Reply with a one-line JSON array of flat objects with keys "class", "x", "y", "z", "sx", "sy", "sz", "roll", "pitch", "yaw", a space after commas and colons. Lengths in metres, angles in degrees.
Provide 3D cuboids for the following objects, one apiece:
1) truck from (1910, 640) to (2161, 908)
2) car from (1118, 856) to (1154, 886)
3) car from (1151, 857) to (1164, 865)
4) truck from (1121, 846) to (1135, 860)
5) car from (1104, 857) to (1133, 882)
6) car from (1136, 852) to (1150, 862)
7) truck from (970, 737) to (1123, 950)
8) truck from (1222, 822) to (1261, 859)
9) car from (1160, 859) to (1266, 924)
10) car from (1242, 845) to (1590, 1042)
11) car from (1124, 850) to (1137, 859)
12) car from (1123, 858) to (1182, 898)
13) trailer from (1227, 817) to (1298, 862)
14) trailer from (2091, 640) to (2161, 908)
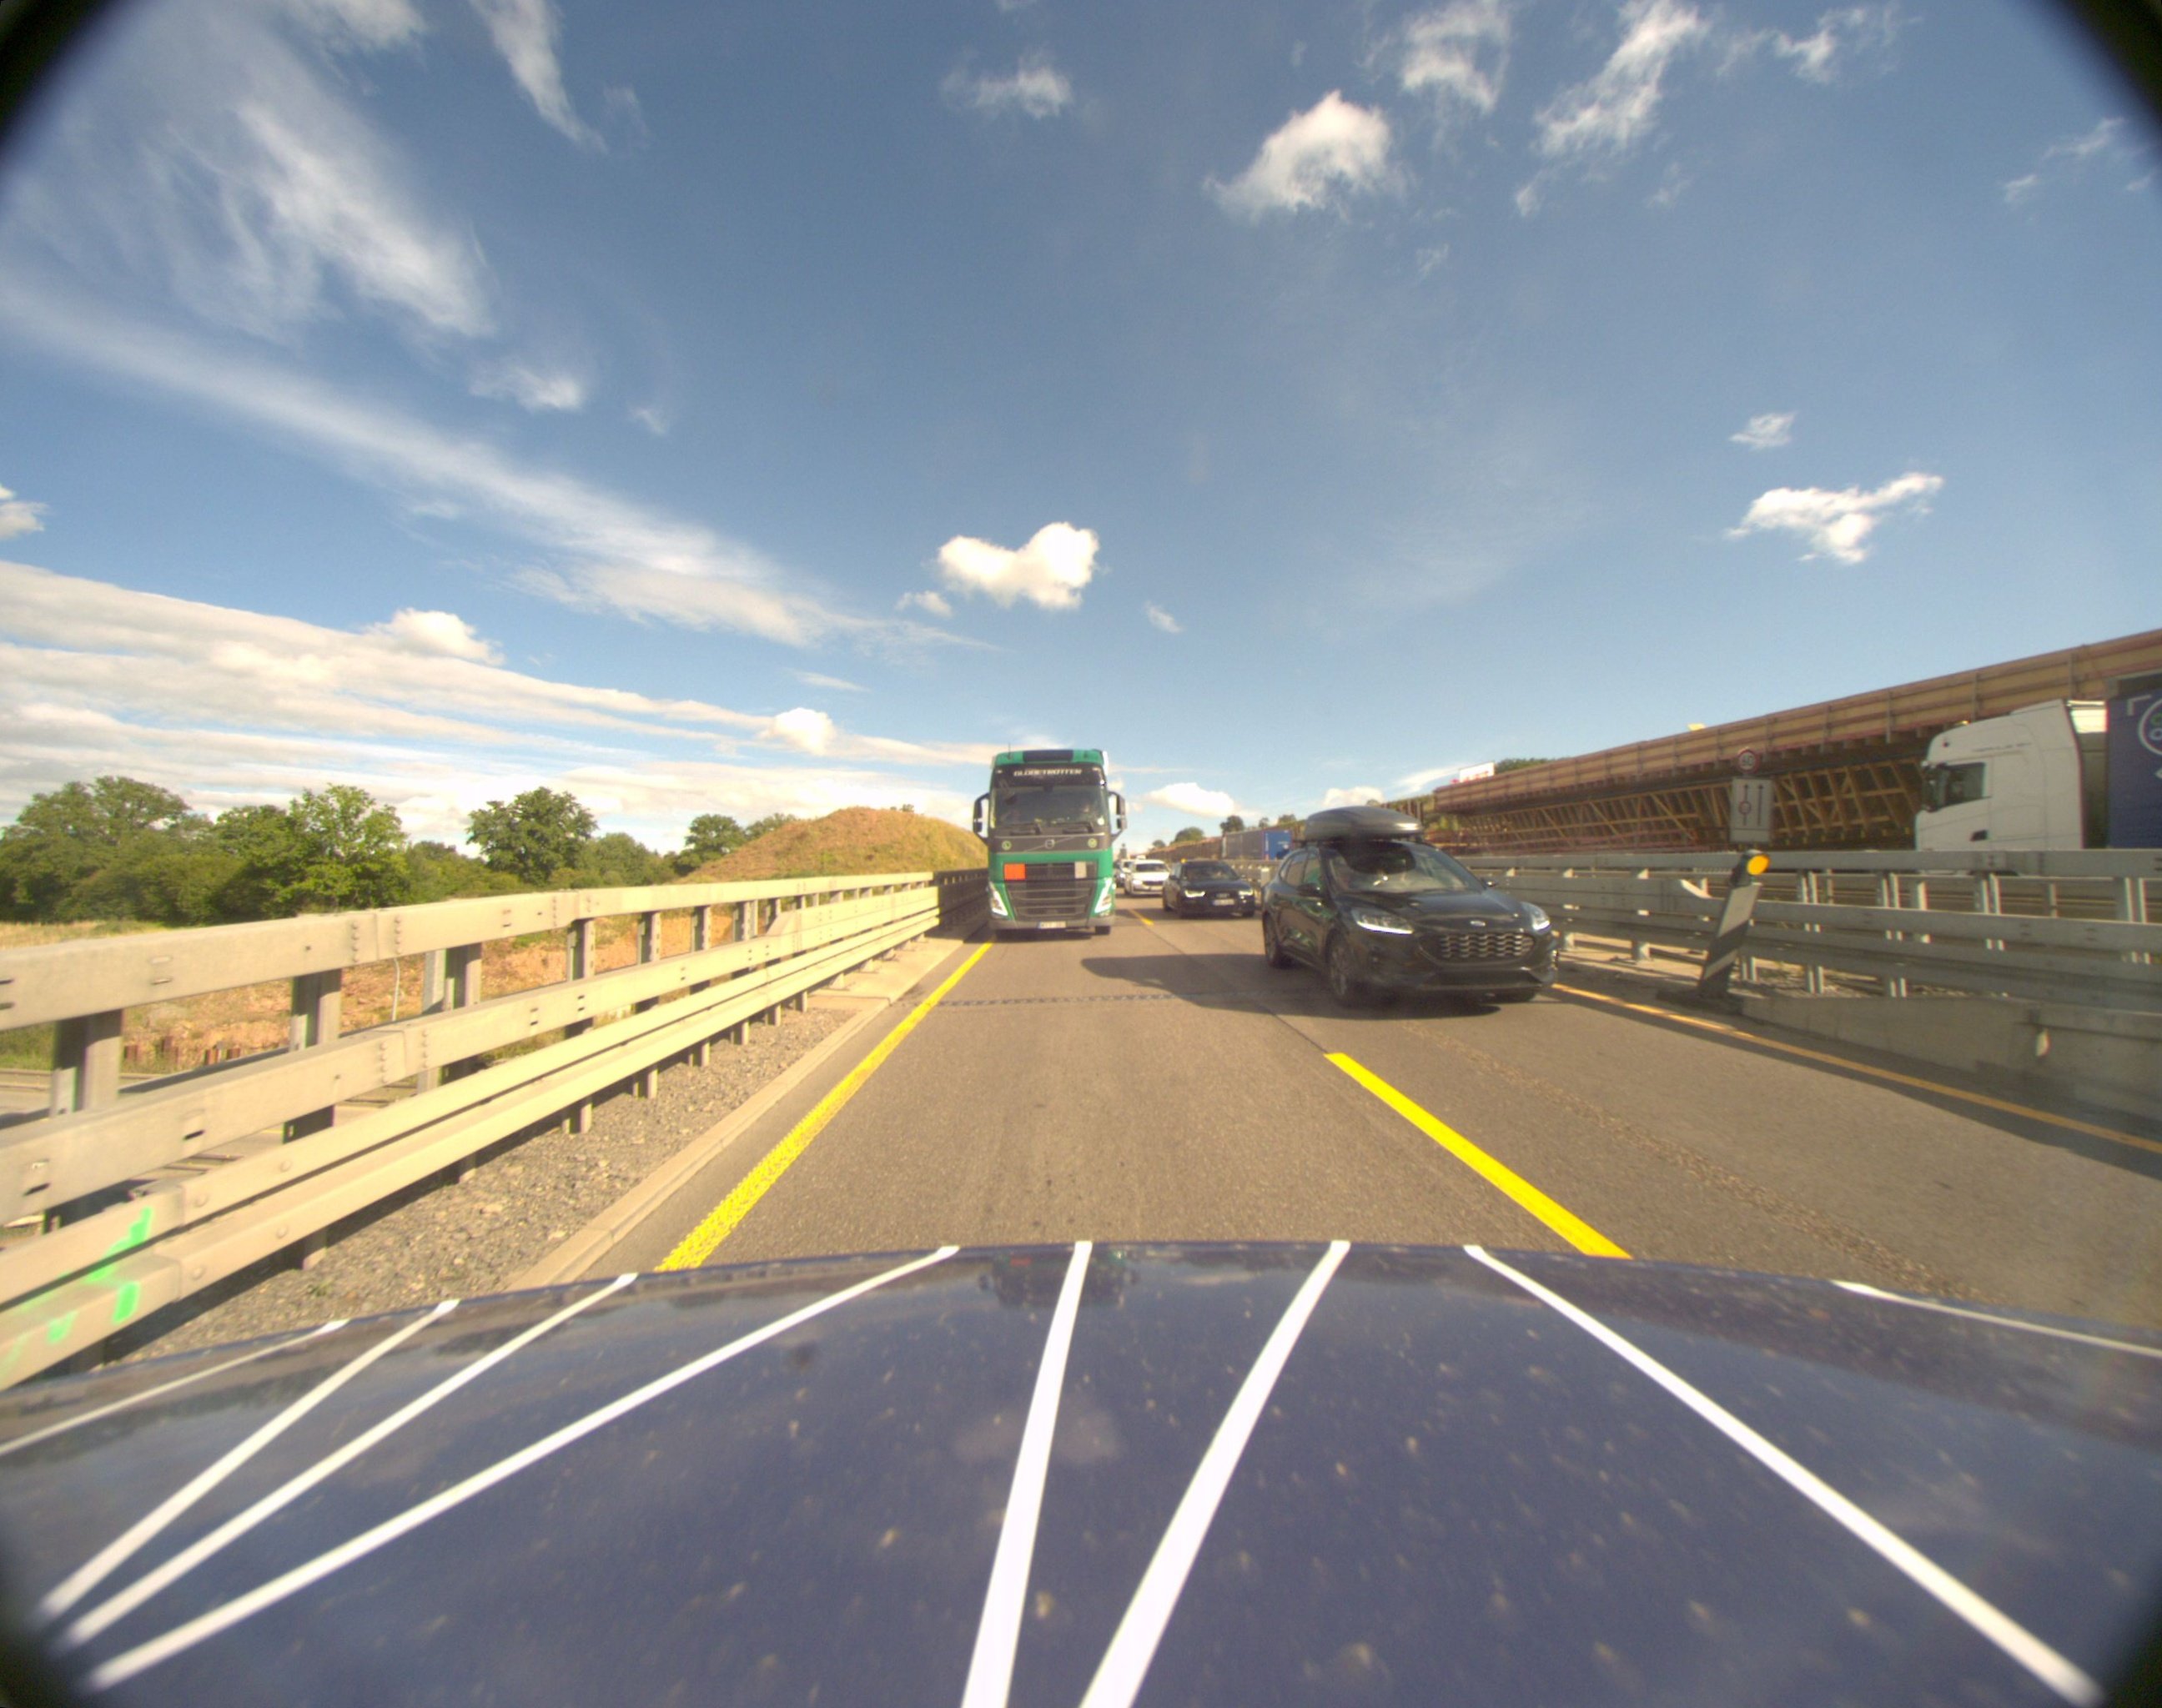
[{"class": "truck", "x": 17.996, "y": -1.280, "z": 12.213, "sx": 2.719, "sy": 4.113, "sz": 5.969, "roll": -2, "pitch": 1, "yaw": -1}, {"class": "car", "x": 3.113, "y": 0.943, "z": 43.489, "sx": 1.659, "sy": 1.510, "sz": 3.999, "roll": -2, "pitch": 1, "yaw": -1}, {"class": "car", "x": 15.448, "y": 1.365, "z": 153.386, "sx": 1.949, "sy": 1.422, "sz": 4.407, "roll": -4, "pitch": 1, "yaw": -2}, {"class": "truck", "x": 13.857, "y": -0.268, "z": 223.811, "sx": 3.179, "sy": 3.843, "sz": 8.232, "roll": -2, "pitch": 1, "yaw": -1}, {"class": "car", "x": 2.571, "y": 1.042, "z": 52.694, "sx": 1.659, "sy": 1.510, "sz": 3.999, "roll": -2, "pitch": 1, "yaw": -1}, {"class": "car", "x": 14.386, "y": 0.665, "z": 177.520, "sx": 2.572, "sy": 2.329, "sz": 6.404, "roll": -2, "pitch": 1, "yaw": -1}, {"class": "truck", "x": -0.731, "y": -0.227, "z": 19.143, "sx": 2.664, "sy": 3.825, "sz": 10.315, "roll": -2, "pitch": 1, "yaw": -1}, {"class": "truck", "x": 16.307, "y": -1.367, "z": 77.602, "sx": 2.850, "sy": 3.607, "sz": 4.809, "roll": -2, "pitch": 1, "yaw": -1}, {"class": "car", "x": 3.372, "y": 0.903, "z": 20.254, "sx": 1.949, "sy": 1.422, "sz": 4.503, "roll": -1, "pitch": 1, "yaw": -1}, {"class": "car", "x": 3.210, "y": 0.749, "z": 8.403, "sx": 1.804, "sy": 1.533, "sz": 4.384, "roll": -2, "pitch": 0, "yaw": -1}, {"class": "car", "x": 13.461, "y": 0.006, "z": 205.940, "sx": 2.887, "sy": 2.329, "sz": 6.404, "roll": -2, "pitch": 1, "yaw": -1}, {"class": "car", "x": 2.853, "y": 0.976, "z": 31.311, "sx": 1.949, "sy": 1.421, "sz": 4.409, "roll": -3, "pitch": -1, "yaw": 0}, {"class": "trailer", "x": 16.489, "y": -1.276, "z": 70.255, "sx": 2.870, "sy": 3.645, "sz": 13.526, "roll": -2, "pitch": 1, "yaw": -1}, {"class": "trailer", "x": 18.162, "y": -1.234, "z": 5.647, "sx": 2.694, "sy": 4.132, "sz": 13.808, "roll": -2, "pitch": 1, "yaw": -1}]
